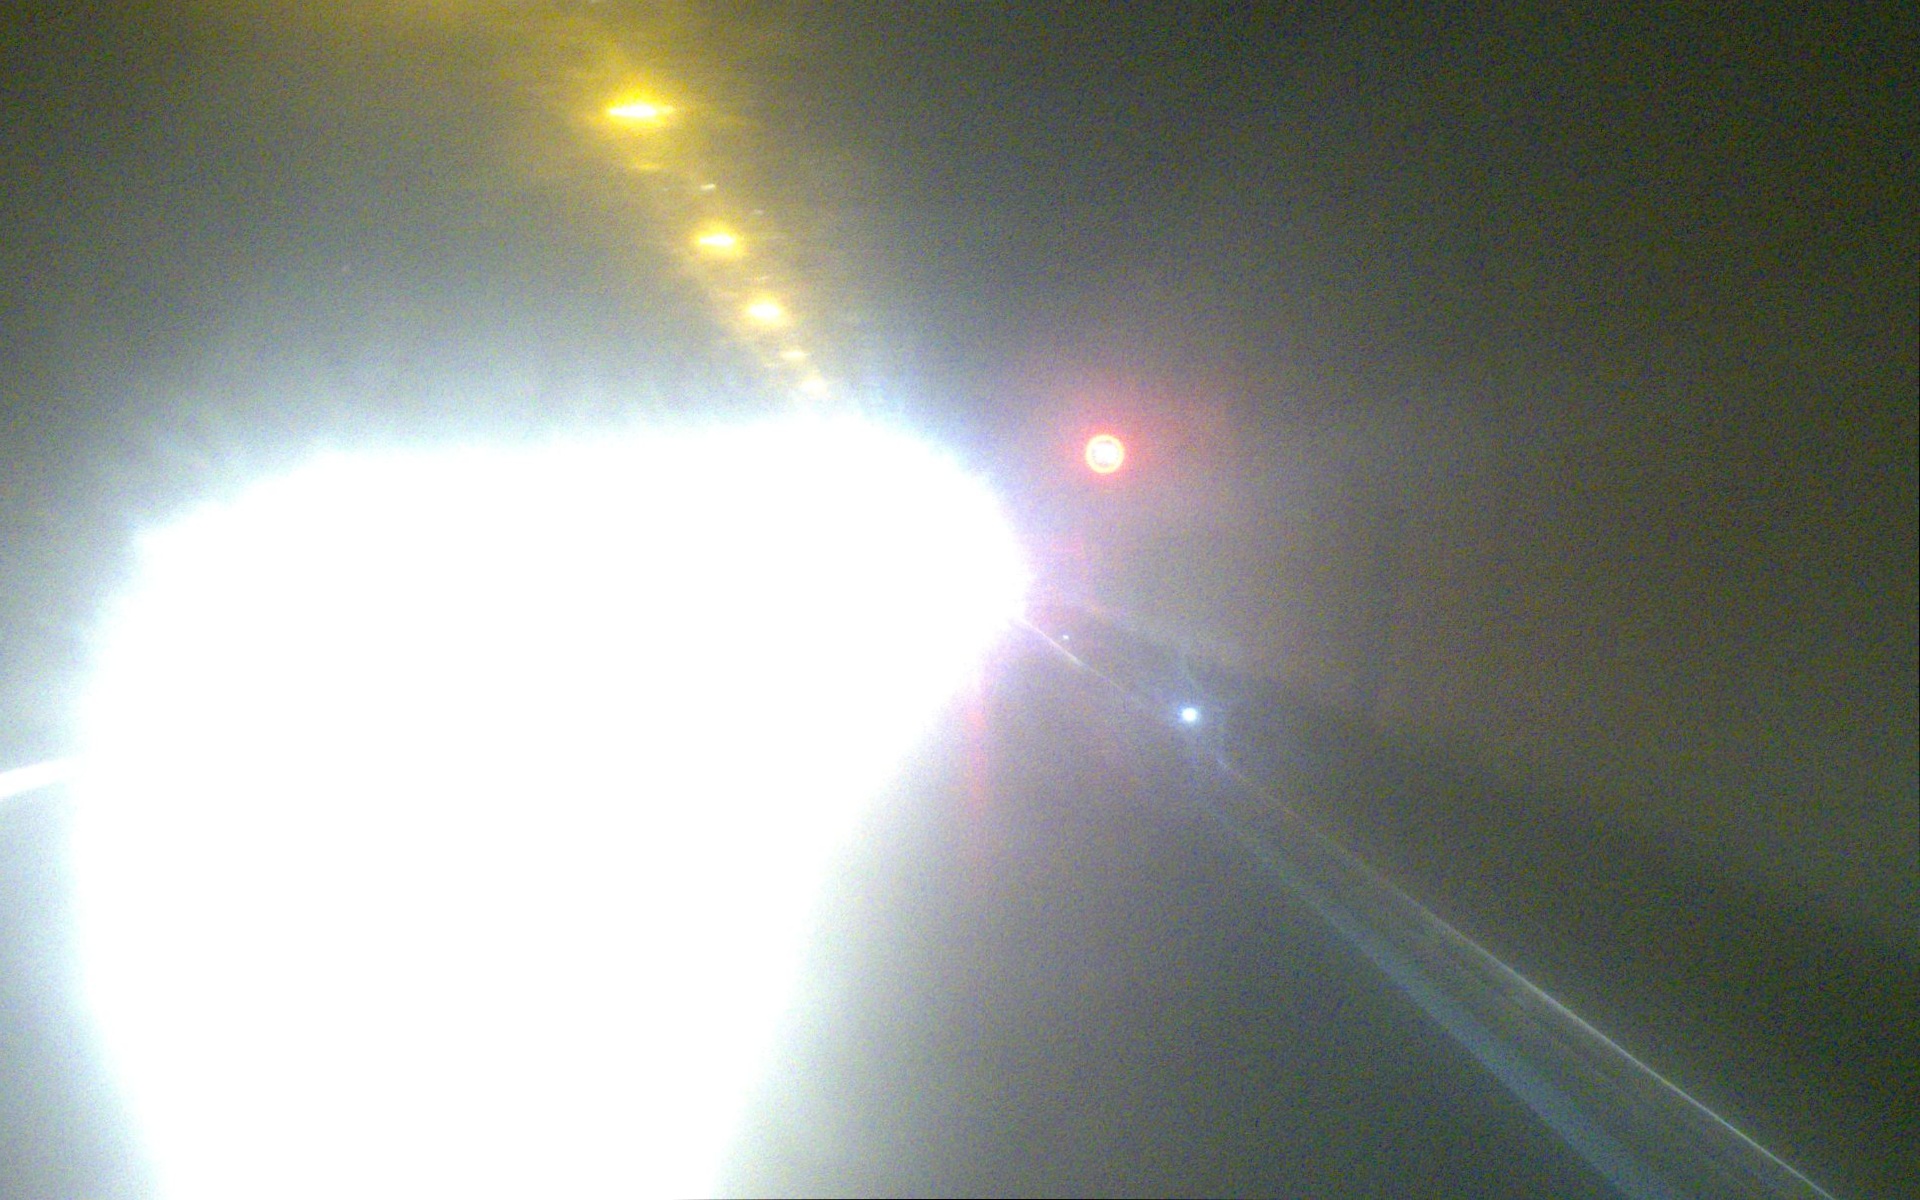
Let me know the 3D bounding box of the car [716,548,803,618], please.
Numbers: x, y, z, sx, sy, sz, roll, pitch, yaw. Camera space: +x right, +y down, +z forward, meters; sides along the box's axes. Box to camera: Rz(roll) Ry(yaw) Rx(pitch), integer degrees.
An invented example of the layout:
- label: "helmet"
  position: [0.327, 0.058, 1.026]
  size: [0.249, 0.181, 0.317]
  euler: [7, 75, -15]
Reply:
- label: "car"
  position: [-4.311, -0.391, 74.329]
  size: [1.710, 1.457, 3.575]
  euler: [-1, 1, -1]

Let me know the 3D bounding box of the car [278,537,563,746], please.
- label: "car"
  position: [-4.084, 0.271, 26.515]
  size: [1.690, 1.500, 3.745]
  euler: [0, 1, -1]

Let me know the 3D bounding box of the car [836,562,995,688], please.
- label: "car"
  position: [-0.628, 0.307, 47.400]
  size: [2.089, 1.656, 4.000]
  euler: [0, 1, -1]

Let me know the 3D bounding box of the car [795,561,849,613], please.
- label: "car"
  position: [-4.787, -0.471, 119.502]
  size: [1.669, 1.641, 3.907]
  euler: [-3, 2, -1]
